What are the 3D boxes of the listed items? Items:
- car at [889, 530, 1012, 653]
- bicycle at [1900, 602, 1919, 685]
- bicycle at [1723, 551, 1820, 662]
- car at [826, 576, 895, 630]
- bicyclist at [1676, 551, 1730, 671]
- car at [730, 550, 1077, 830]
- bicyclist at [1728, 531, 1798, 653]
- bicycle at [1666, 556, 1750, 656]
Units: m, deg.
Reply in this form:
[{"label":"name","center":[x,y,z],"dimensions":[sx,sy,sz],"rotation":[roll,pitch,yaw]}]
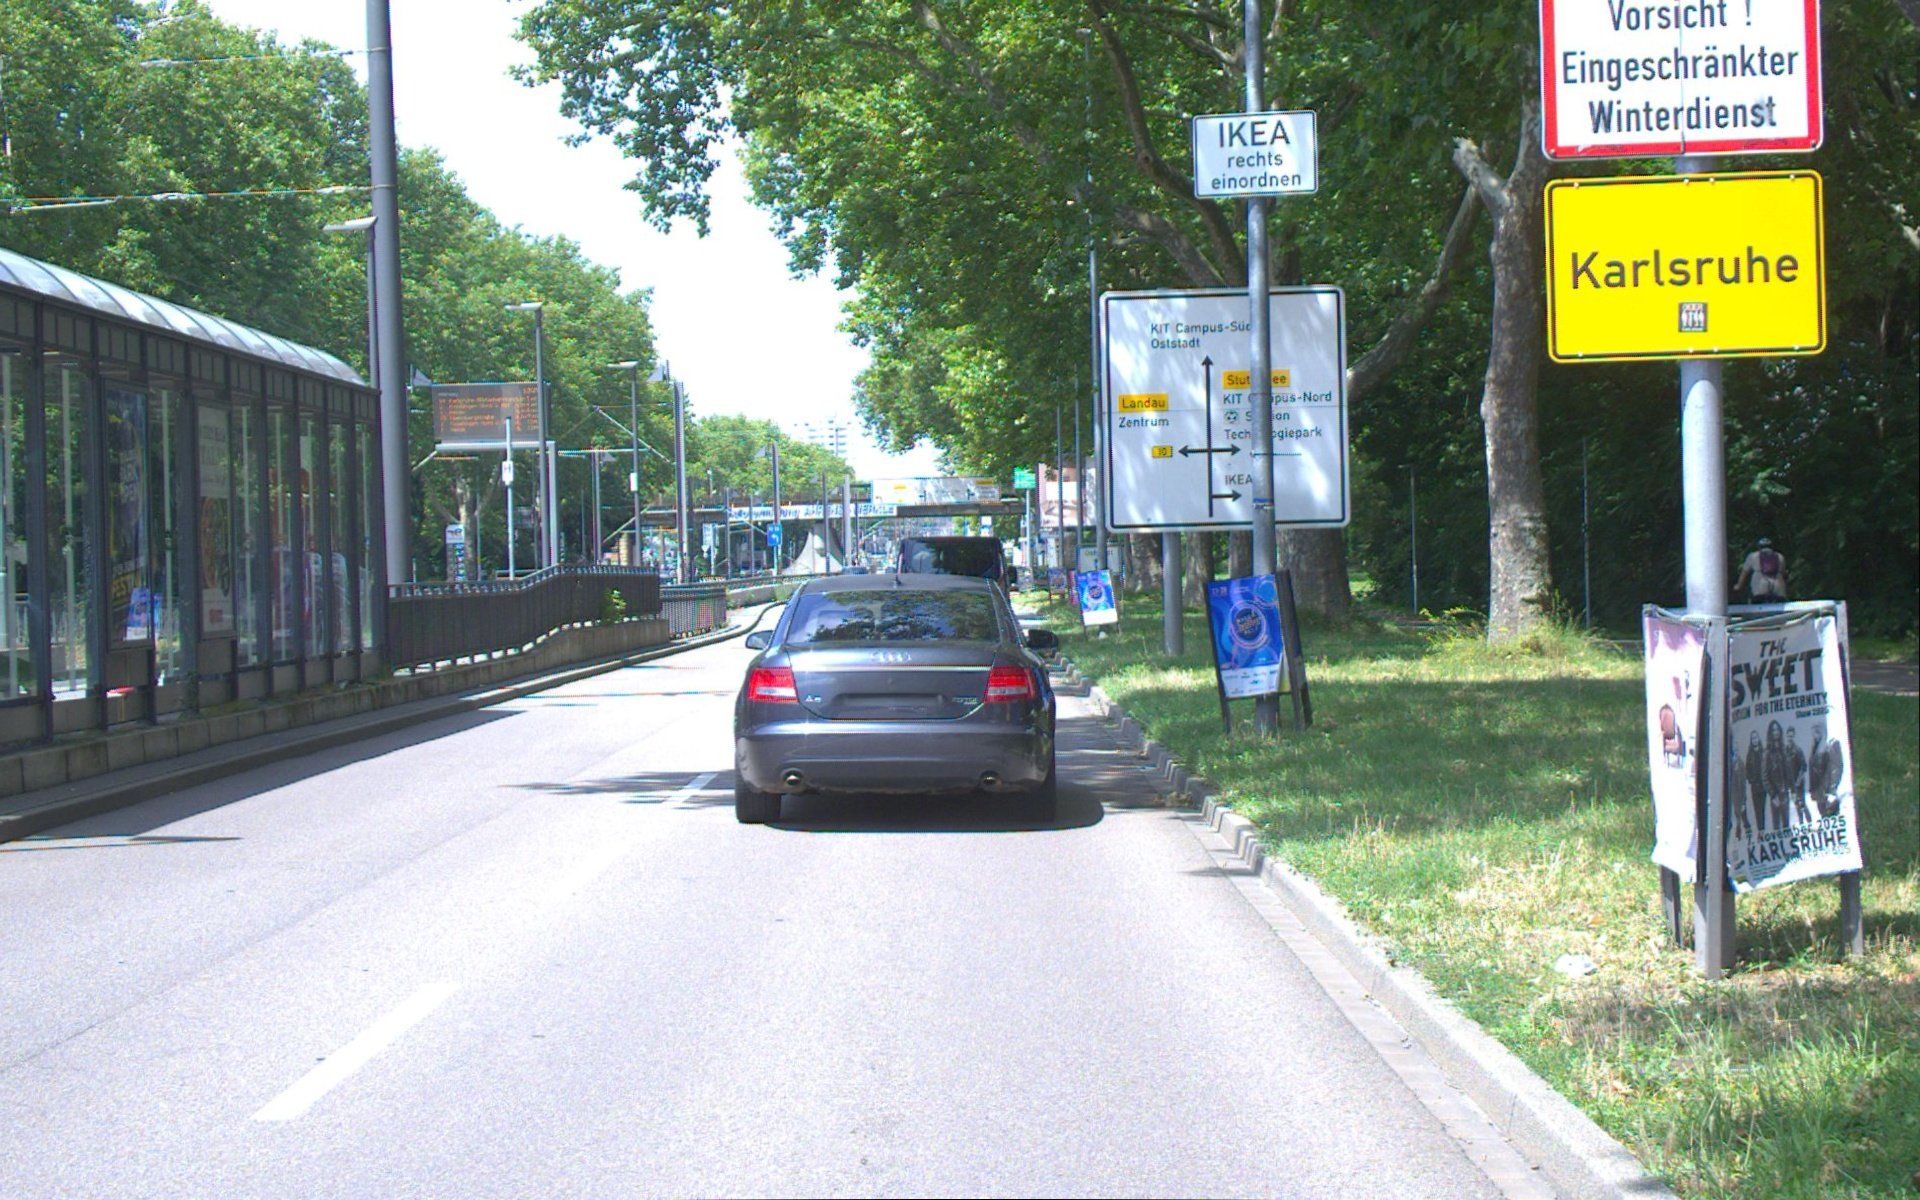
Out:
[{"label":"car","center":[-0.116,-0.153,56.804],"dimensions":[1.848,1.953,4.144],"rotation":[0,0,2]},{"label":"bicycle","center":[10.644,0.473,36.650],"dimensions":[0.645,0.884,2.023],"rotation":[-1,0,-1]},{"label":"bicycle","center":[10.736,0.069,45.562],"dimensions":[0.610,1.415,2.662],"rotation":[-1,0,0]},{"label":"car","center":[-2.773,0.070,95.807],"dimensions":[1.845,1.459,4.000],"rotation":[-1,0,-2]},{"label":"bicyclist","center":[10.880,0.152,50.340],"dimensions":[0.597,1.740,0.843],"rotation":[0,0,0]},{"label":"car","center":[-0.435,0.455,20.500],"dimensions":[1.842,1.479,4.001],"rotation":[-1,1,-4]},{"label":"bicyclist","center":[10.671,-0.108,45.700],"dimensions":[0.658,1.593,1.053],"rotation":[-1,0,1]},{"label":"bicycle","center":[10.895,0.075,50.173],"dimensions":[0.610,1.415,2.662],"rotation":[-1,0,0]}]
